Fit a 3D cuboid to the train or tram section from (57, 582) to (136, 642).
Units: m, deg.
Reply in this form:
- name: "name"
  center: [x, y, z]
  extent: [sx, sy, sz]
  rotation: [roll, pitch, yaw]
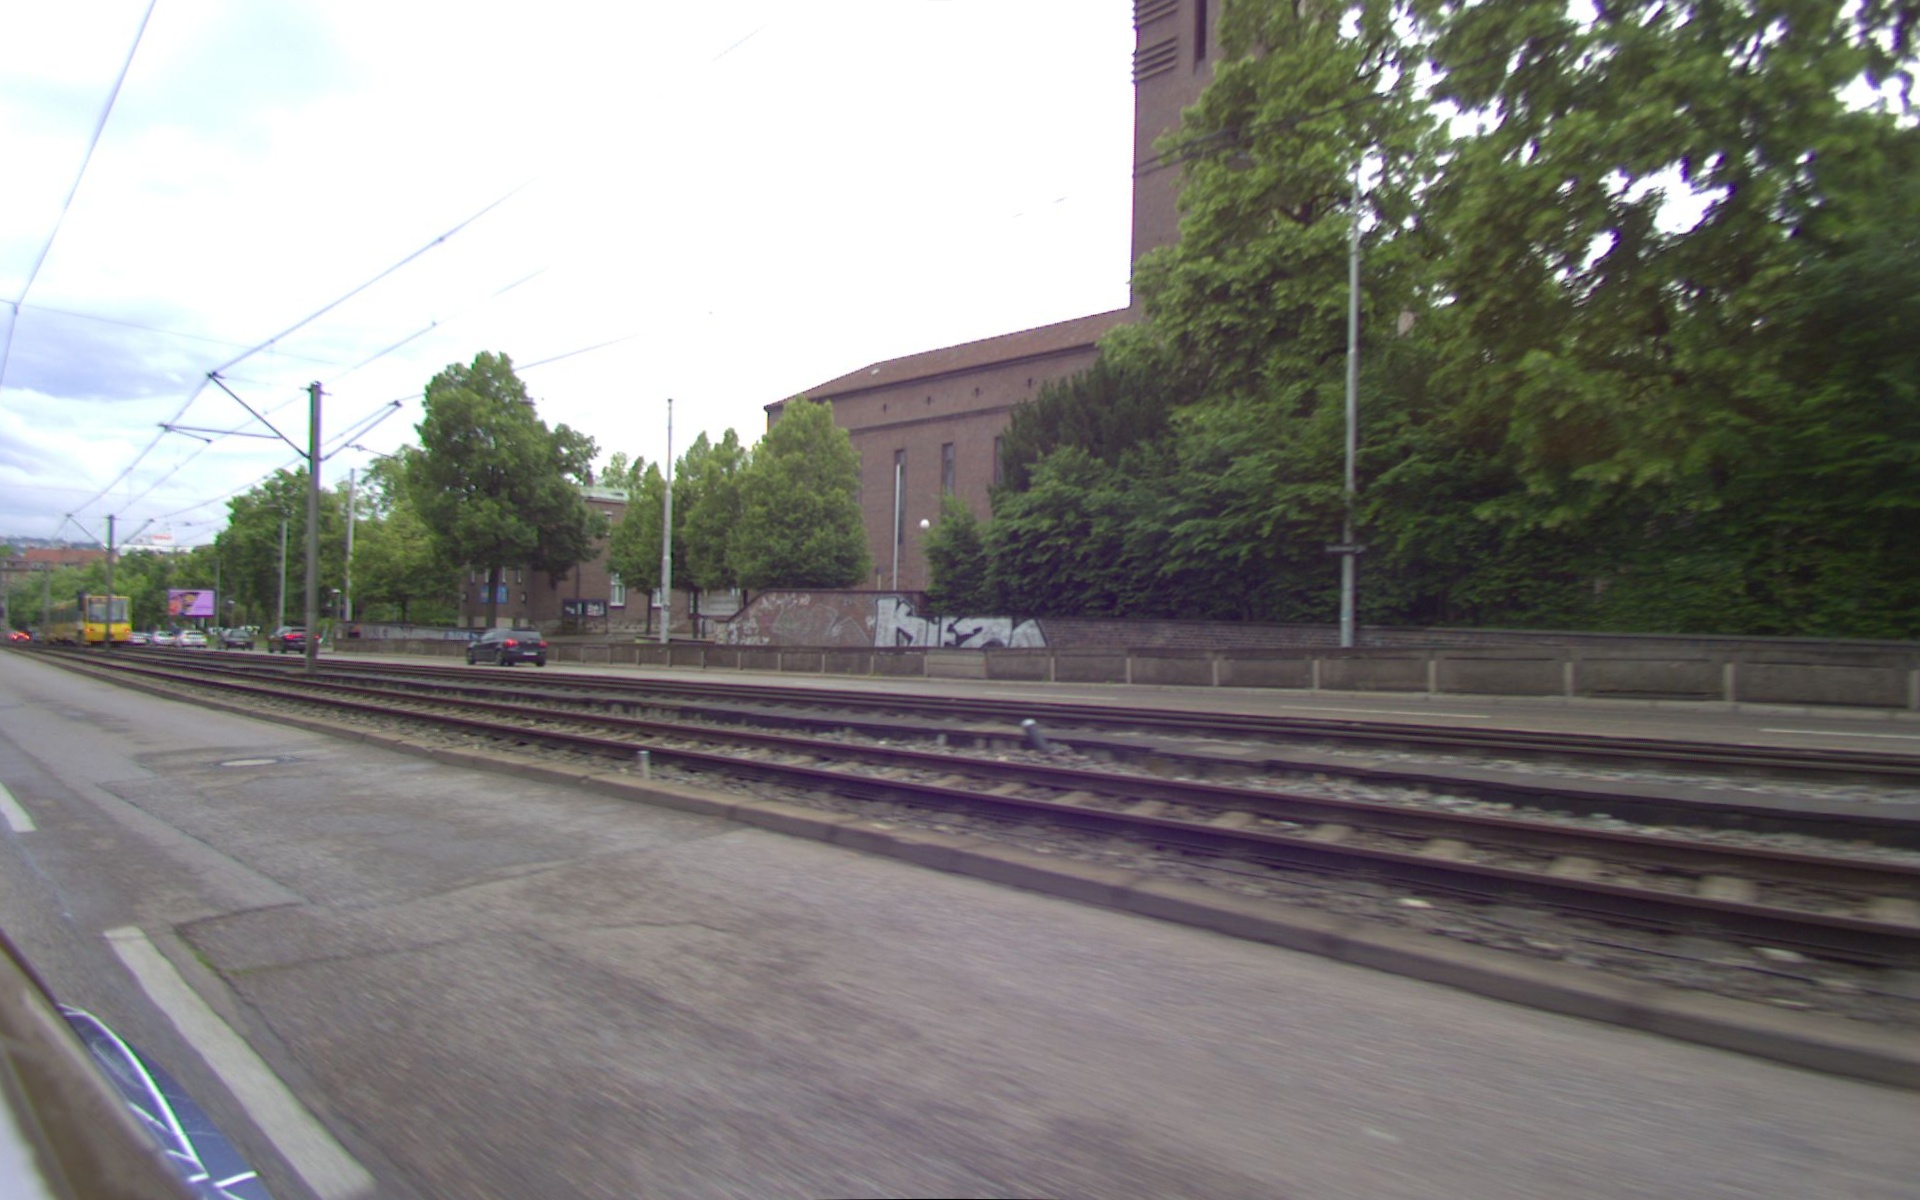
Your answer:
- name: "train or tram section"
  center: [-64.588, 1.030, 75.463]
  extent: [17.880, 4.006, 2.796]
  rotation: [-2, -2, 44]

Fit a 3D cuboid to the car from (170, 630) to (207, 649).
- name: "car"
  center: [-63.834, 3.282, 83.722]
  extent: [3.984, 1.479, 1.728]
  rotation: [-2, -5, 42]

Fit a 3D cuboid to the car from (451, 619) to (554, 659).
- name: "car"
  center: [-17.450, 1.466, 38.528]
  extent: [4.319, 1.452, 1.945]
  rotation: [-1, -3, 41]

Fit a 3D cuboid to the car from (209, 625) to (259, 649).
- name: "car"
  center: [-51.413, 2.605, 71.654]
  extent: [4.411, 1.656, 1.972]
  rotation: [-2, -3, 43]

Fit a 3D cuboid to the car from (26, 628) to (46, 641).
- name: "car"
  center: [-124.729, 4.677, 136.544]
  extent: [4.341, 1.650, 1.669]
  rotation: [-2, -2, 44]

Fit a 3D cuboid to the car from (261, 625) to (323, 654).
- name: "car"
  center: [-39.608, 2.317, 59.951]
  extent: [4.524, 1.656, 1.972]
  rotation: [-2, -3, 42]

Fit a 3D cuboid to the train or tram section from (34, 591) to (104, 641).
- name: "train or tram section"
  center: [-78.007, 1.500, 88.396]
  extent: [20.030, 4.006, 2.797]
  rotation: [-2, -2, 44]
